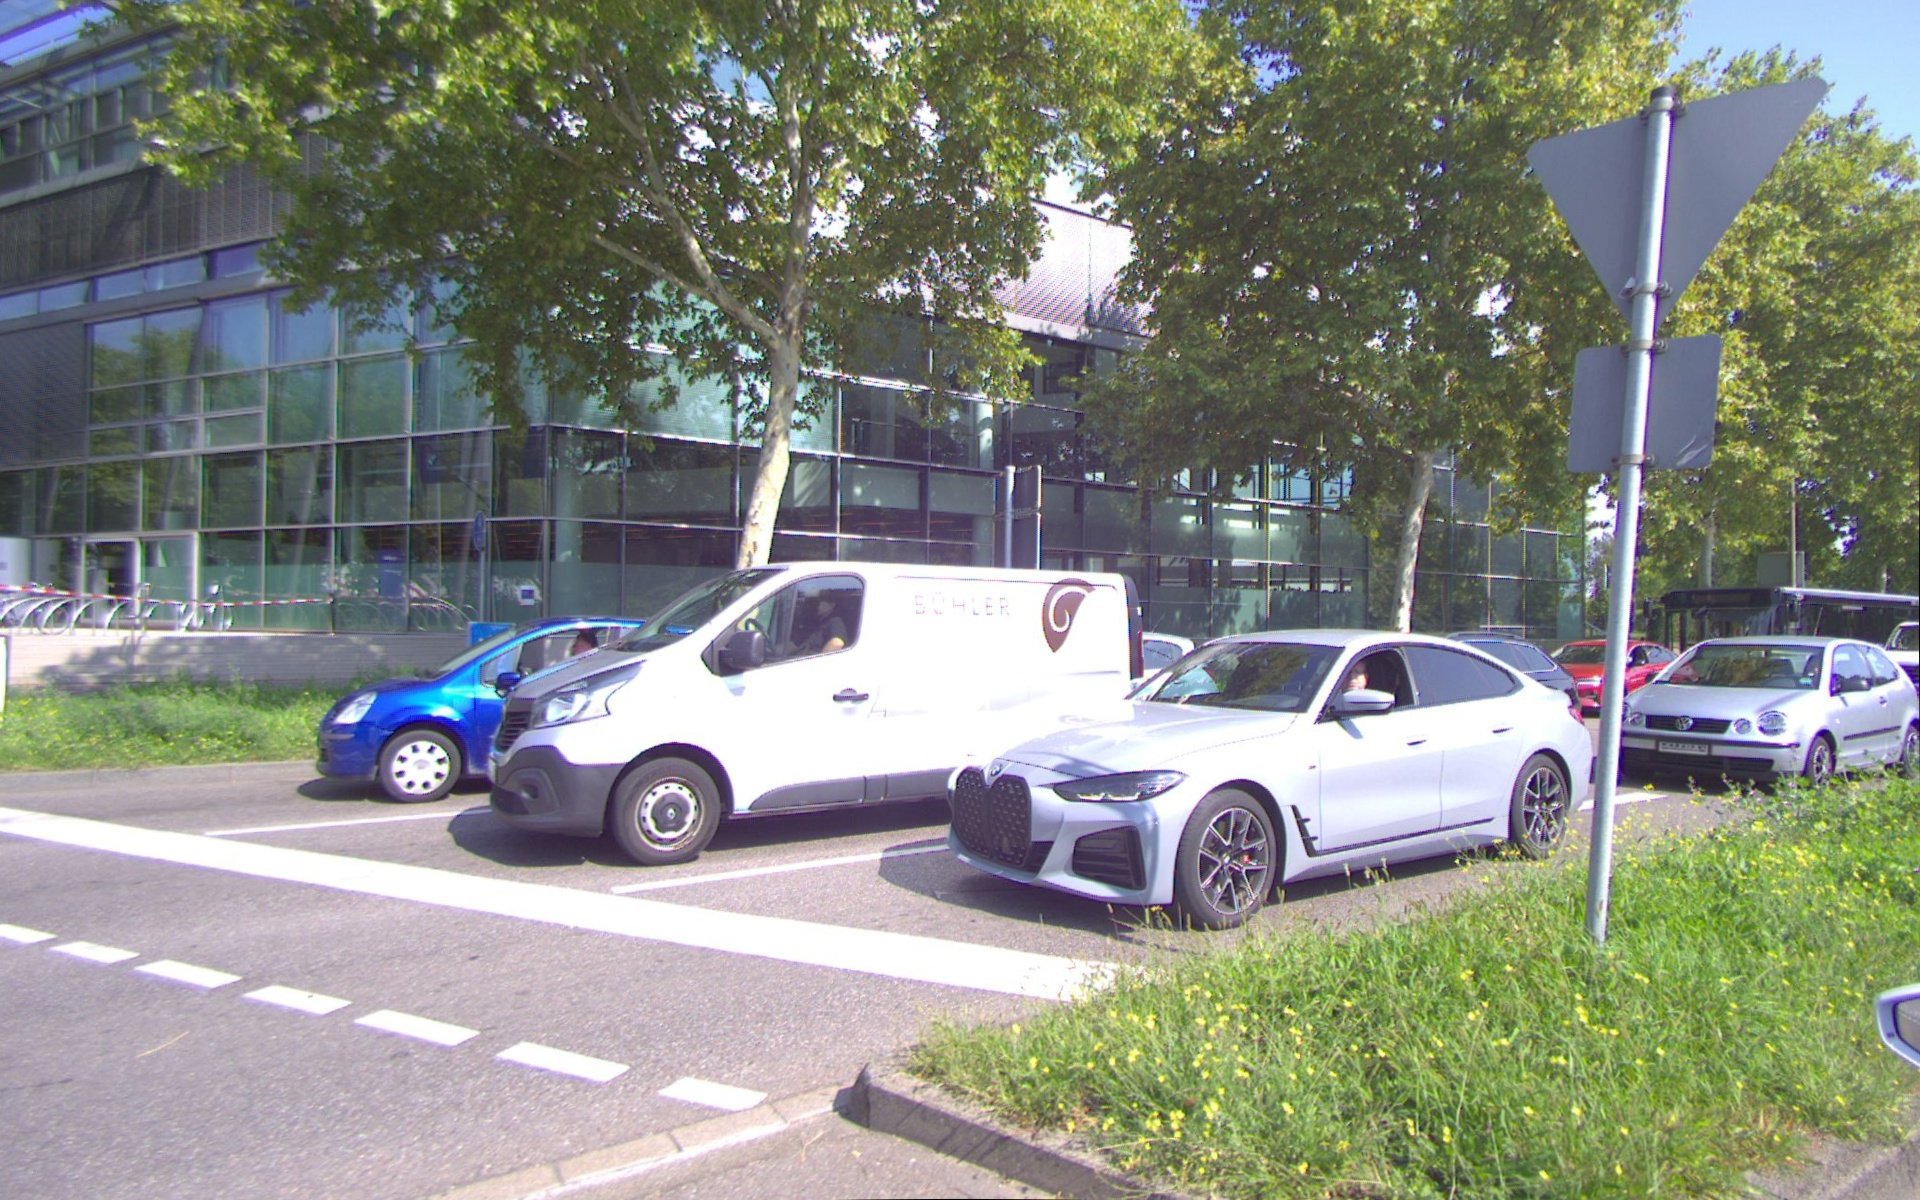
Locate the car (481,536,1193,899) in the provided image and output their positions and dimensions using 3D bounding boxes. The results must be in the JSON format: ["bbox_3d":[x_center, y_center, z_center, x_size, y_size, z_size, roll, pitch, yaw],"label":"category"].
[{"bbox_3d":[-0.723,0.696,7.742,5.157,1.984,1.916,1,-1,-33],"label":"car"}]

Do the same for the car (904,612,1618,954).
[{"bbox_3d":[2.067,0.895,6.350,4.557,1.462,1.825,2,-3,-33],"label":"car"}]

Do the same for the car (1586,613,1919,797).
[{"bbox_3d":[8.289,0.999,10.270,4.056,1.555,1.605,3,-4,-32],"label":"car"}]

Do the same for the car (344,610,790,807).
[{"bbox_3d":[-3.680,0.978,9.621,3.688,1.555,1.660,3,-4,-31],"label":"car"}]

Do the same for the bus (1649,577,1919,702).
[{"bbox_3d":[21.834,1.114,25.953,10.788,2.729,2.647,2,-3,-33],"label":"bus"}]

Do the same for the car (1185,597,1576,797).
[{"bbox_3d":[4.860,1.028,11.398,4.650,1.873,1.709,2,-3,-32],"label":"car"}]

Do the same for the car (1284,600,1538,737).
[{"bbox_3d":[7.238,1.077,16.049,3.934,1.920,1.916,3,-3,-34],"label":"car"}]

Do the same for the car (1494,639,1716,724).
[{"bbox_3d":[13.056,1.598,20.229,5.156,1.530,1.770,3,-4,-33],"label":"car"}]

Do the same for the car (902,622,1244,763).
[{"bbox_3d":[1.517,1.117,12.840,4.214,1.530,1.769,3,-4,-34],"label":"car"}]

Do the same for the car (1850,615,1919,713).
[{"bbox_3d":[21.501,1.332,21.698,5.130,1.986,1.918,1,-3,-31],"label":"car"}]
